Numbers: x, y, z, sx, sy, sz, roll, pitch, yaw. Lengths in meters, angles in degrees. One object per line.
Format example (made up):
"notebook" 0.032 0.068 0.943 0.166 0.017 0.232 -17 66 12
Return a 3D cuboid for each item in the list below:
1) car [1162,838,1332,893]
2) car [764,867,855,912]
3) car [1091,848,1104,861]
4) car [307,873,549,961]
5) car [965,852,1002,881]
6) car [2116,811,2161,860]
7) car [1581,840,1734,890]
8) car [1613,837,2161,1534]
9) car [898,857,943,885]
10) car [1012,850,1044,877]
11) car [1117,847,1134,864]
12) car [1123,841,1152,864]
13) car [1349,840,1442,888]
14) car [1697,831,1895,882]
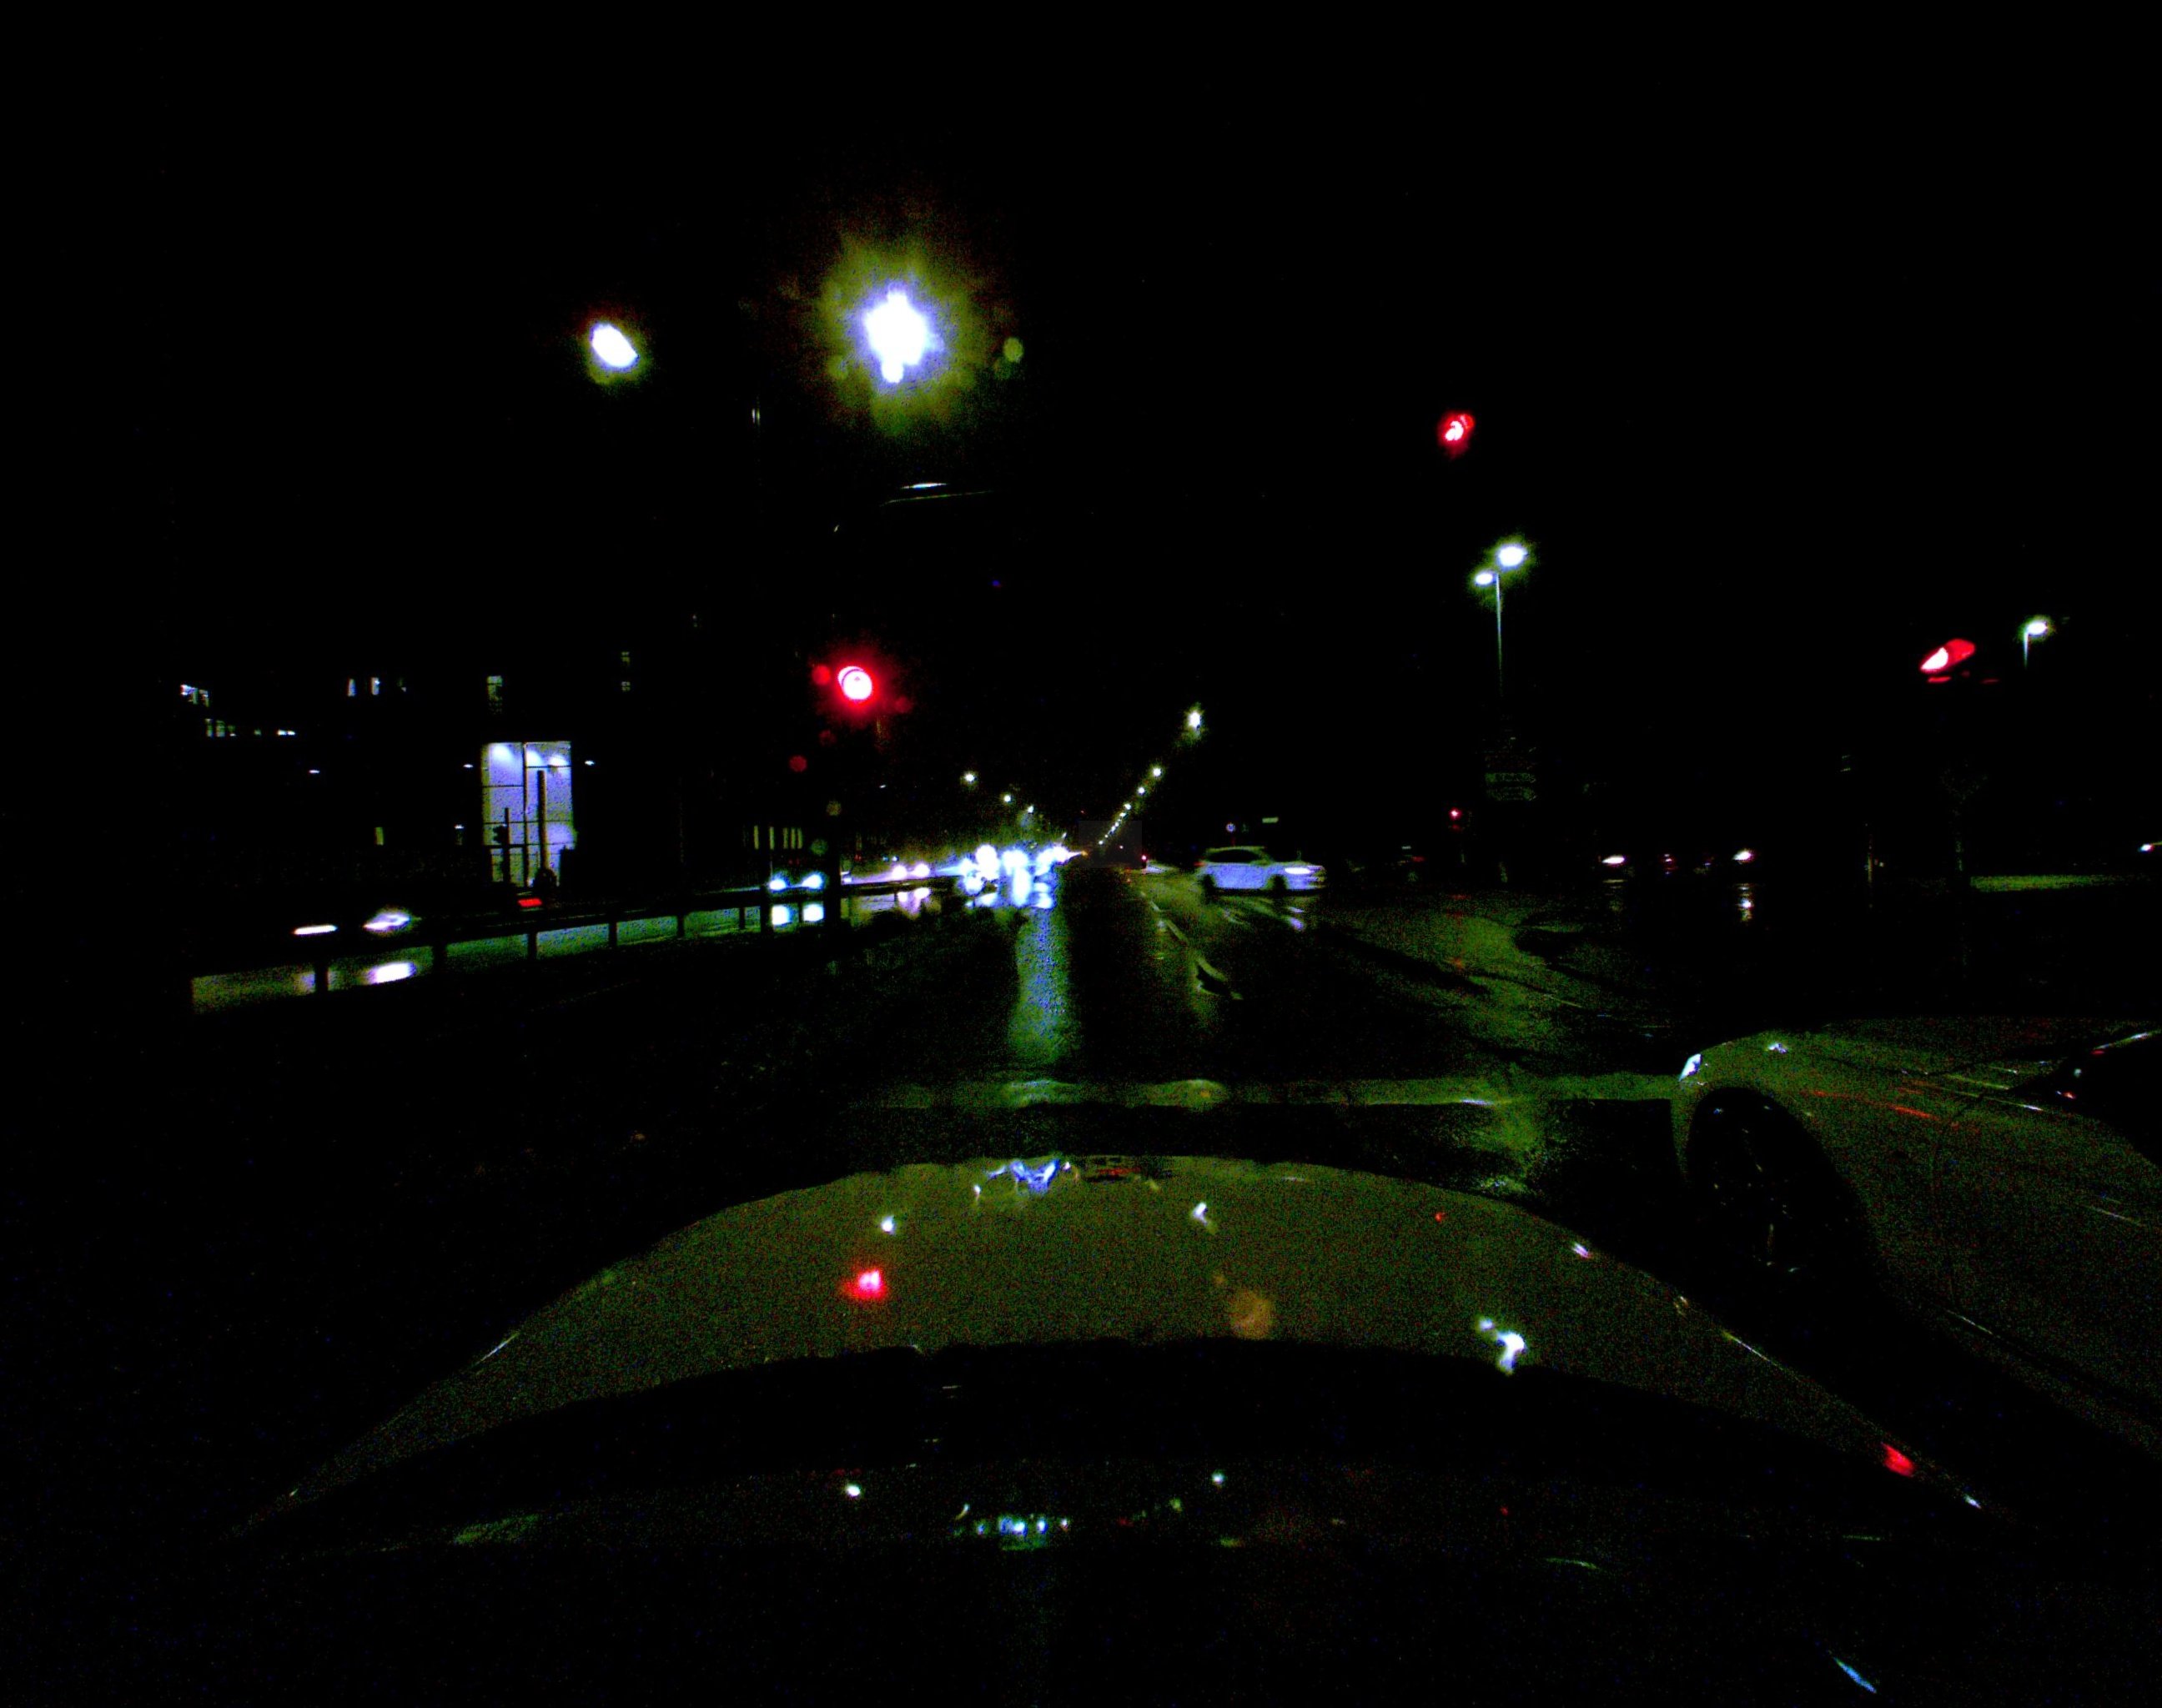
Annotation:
"car" 5.223 0.394 26.031 4.906 1.610 2.013 -2 -1 39
"car" -10.319 1.306 31.367 1.878 1.552 4.435 -1 -1 2
"car" 2.608 0.111 127.286 1.986 2.014 4.001 -1 -1 2
"car" -13.512 1.220 17.206 1.794 1.564 4.001 -1 -1 2
"car" -6.520 0.846 54.633 1.776 1.816 4.002 -2 -1 2
"car" 37.369 -0.640 26.563 4.311 1.590 1.858 -1 -1 10
"car" 21.745 0.422 30.872 4.316 1.755 1.988 -1 -1 6
"car" 3.128 0.687 1.271 1.714 1.446 4.383 -3 -1 1
"car" -9.955 1.034 50.743 1.764 1.569 4.333 -2 -1 2
"car" -4.043 0.715 62.872 1.986 2.014 4.001 -2 0 2
"car" 5.889 0.244 108.586 2.200 2.215 3.644 -1 -1 2
"car" 4.591 -0.082 66.883 1.898 1.780 3.996 -1 -1 -3
"car" 12.648 0.404 32.947 3.389 1.838 1.695 -1 -1 19
"car" 24.216 0.090 27.745 4.823 1.590 1.857 -1 -1 8
